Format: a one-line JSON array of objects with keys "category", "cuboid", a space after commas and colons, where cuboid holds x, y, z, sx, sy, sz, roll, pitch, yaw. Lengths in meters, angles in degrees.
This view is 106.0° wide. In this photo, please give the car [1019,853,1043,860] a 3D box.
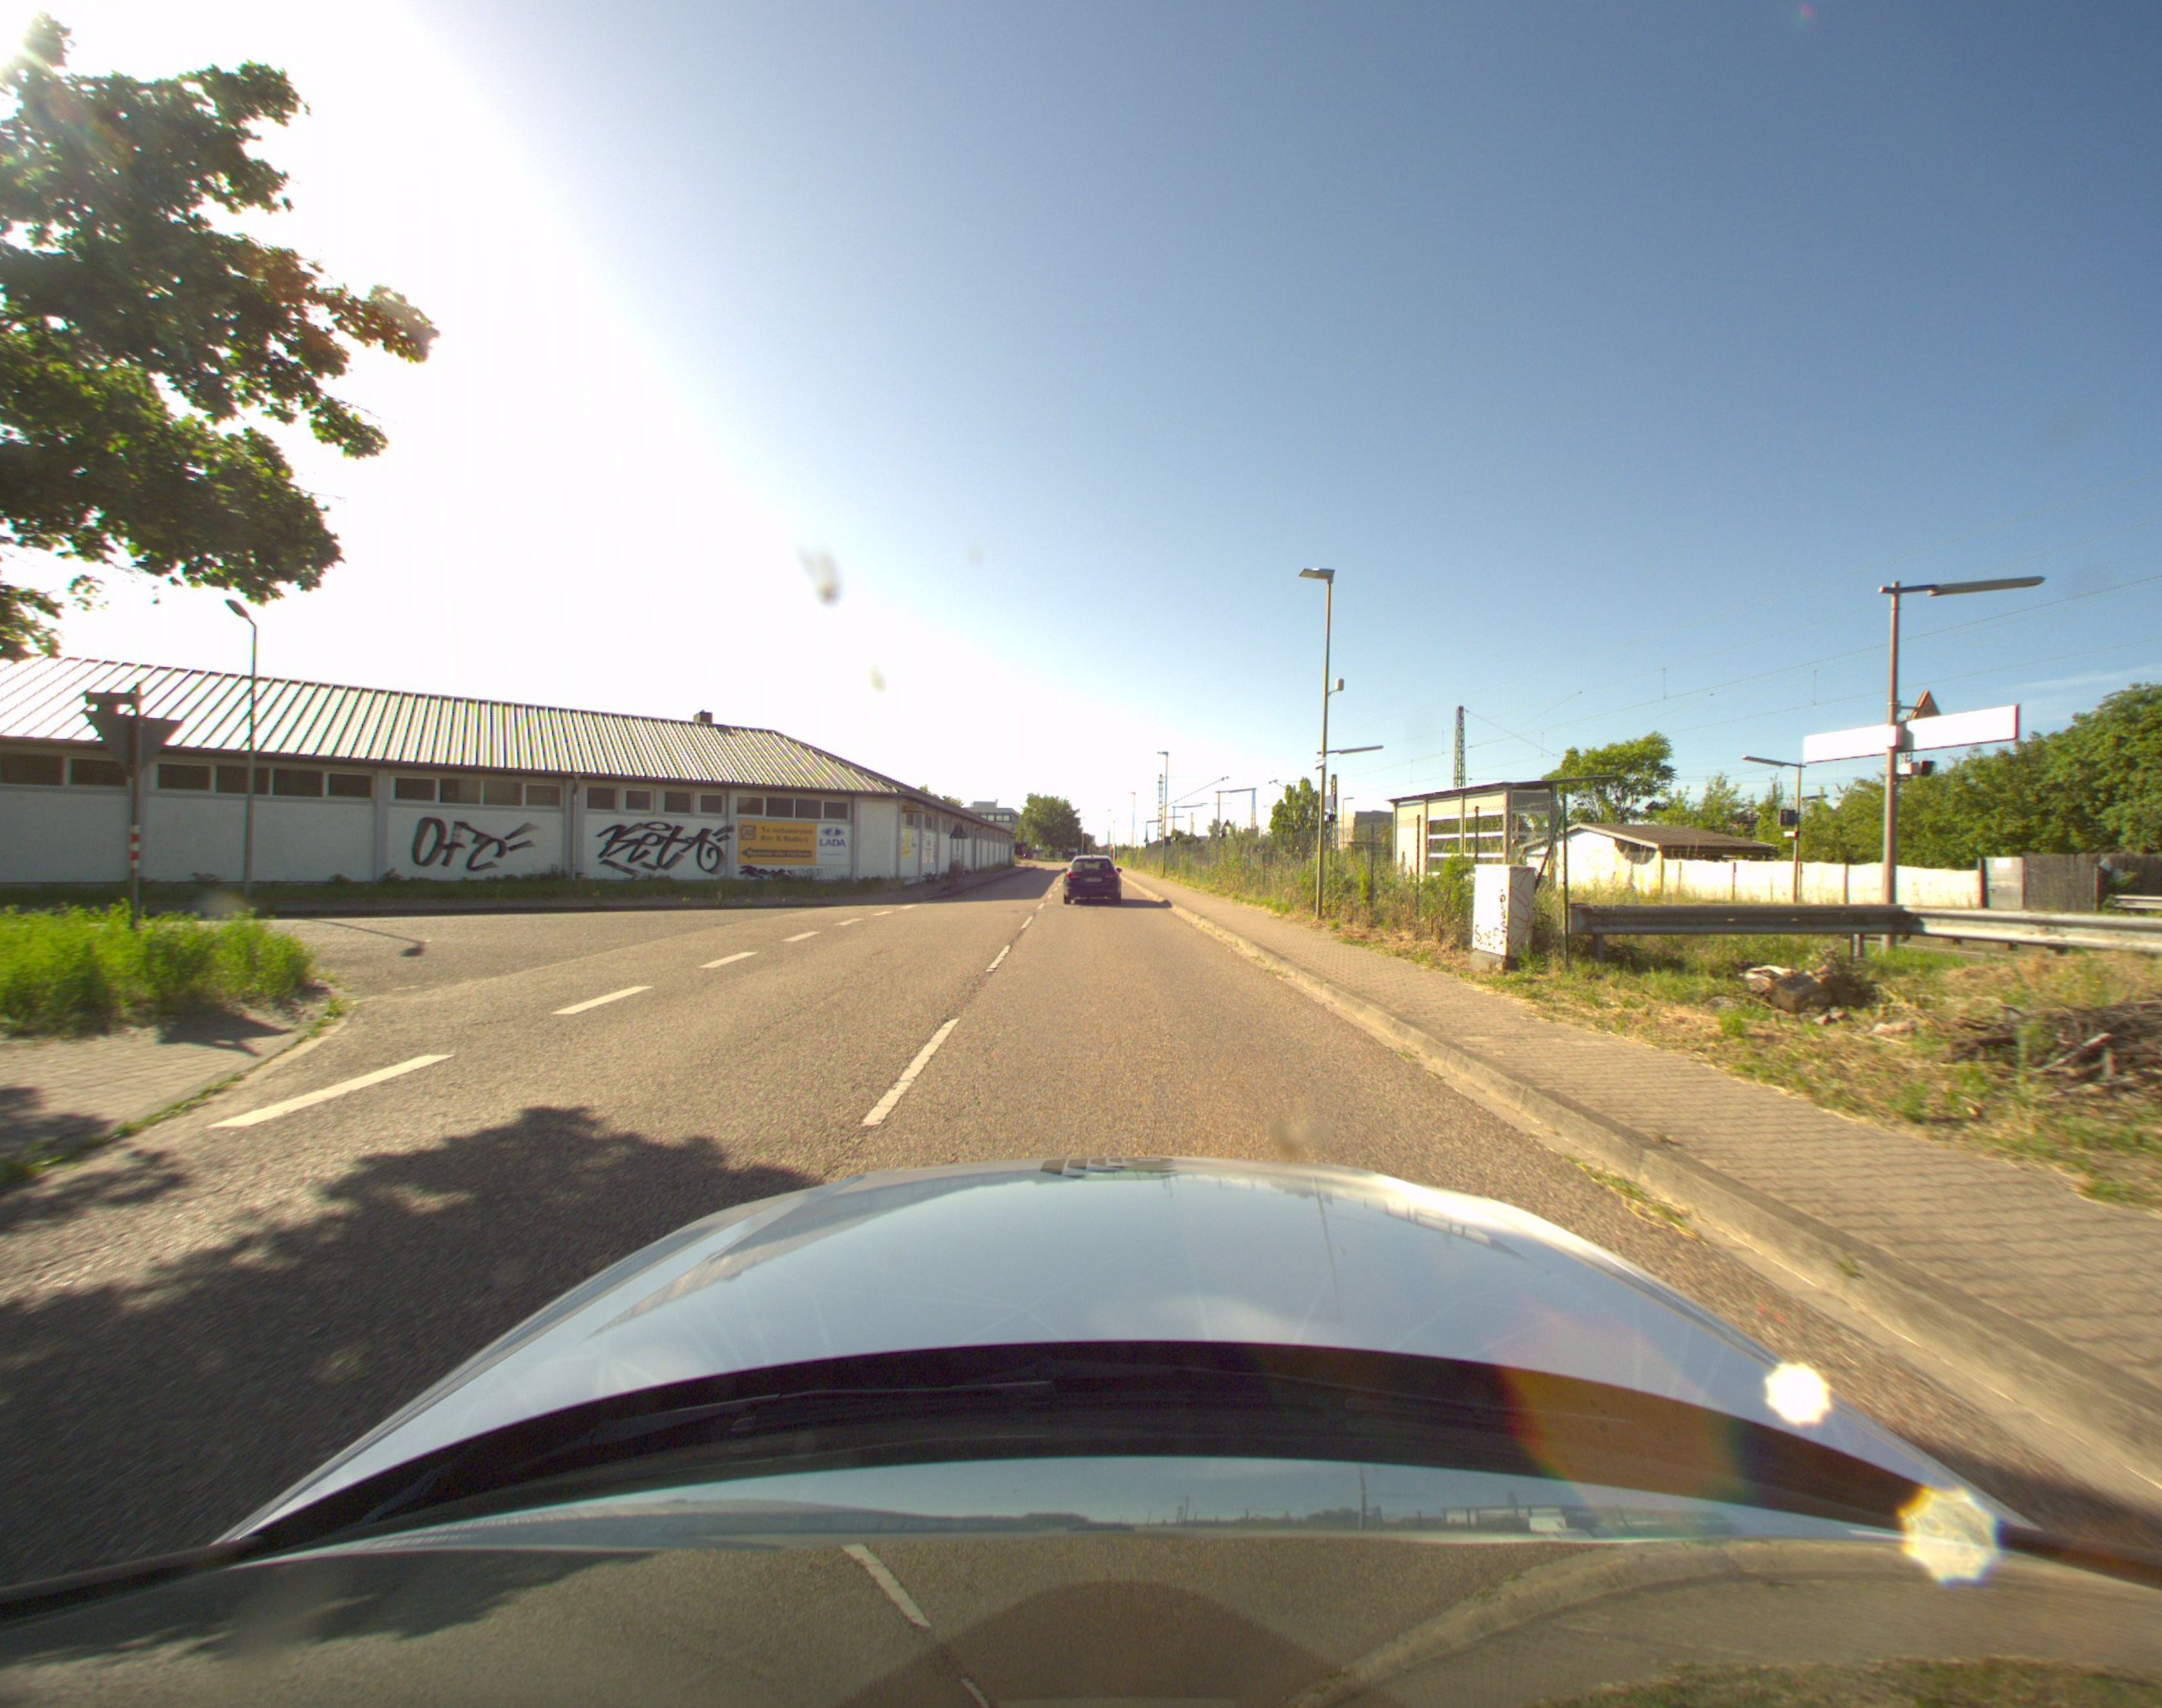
[{"category": "car", "cuboid": [-10.901, 0.559, 178.361, 4.888, 1.484, 2.003, 1, 1, 4]}]

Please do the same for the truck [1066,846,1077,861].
[{"category": "truck", "cuboid": [-2.748, -0.107, 222.685, 2.606, 3.885, 13.522, 2, 0, -2]}]

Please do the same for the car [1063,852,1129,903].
[{"category": "car", "cuboid": [0.425, 0.694, 26.109, 1.936, 1.489, 4.564, 0, 0, 0]}]
